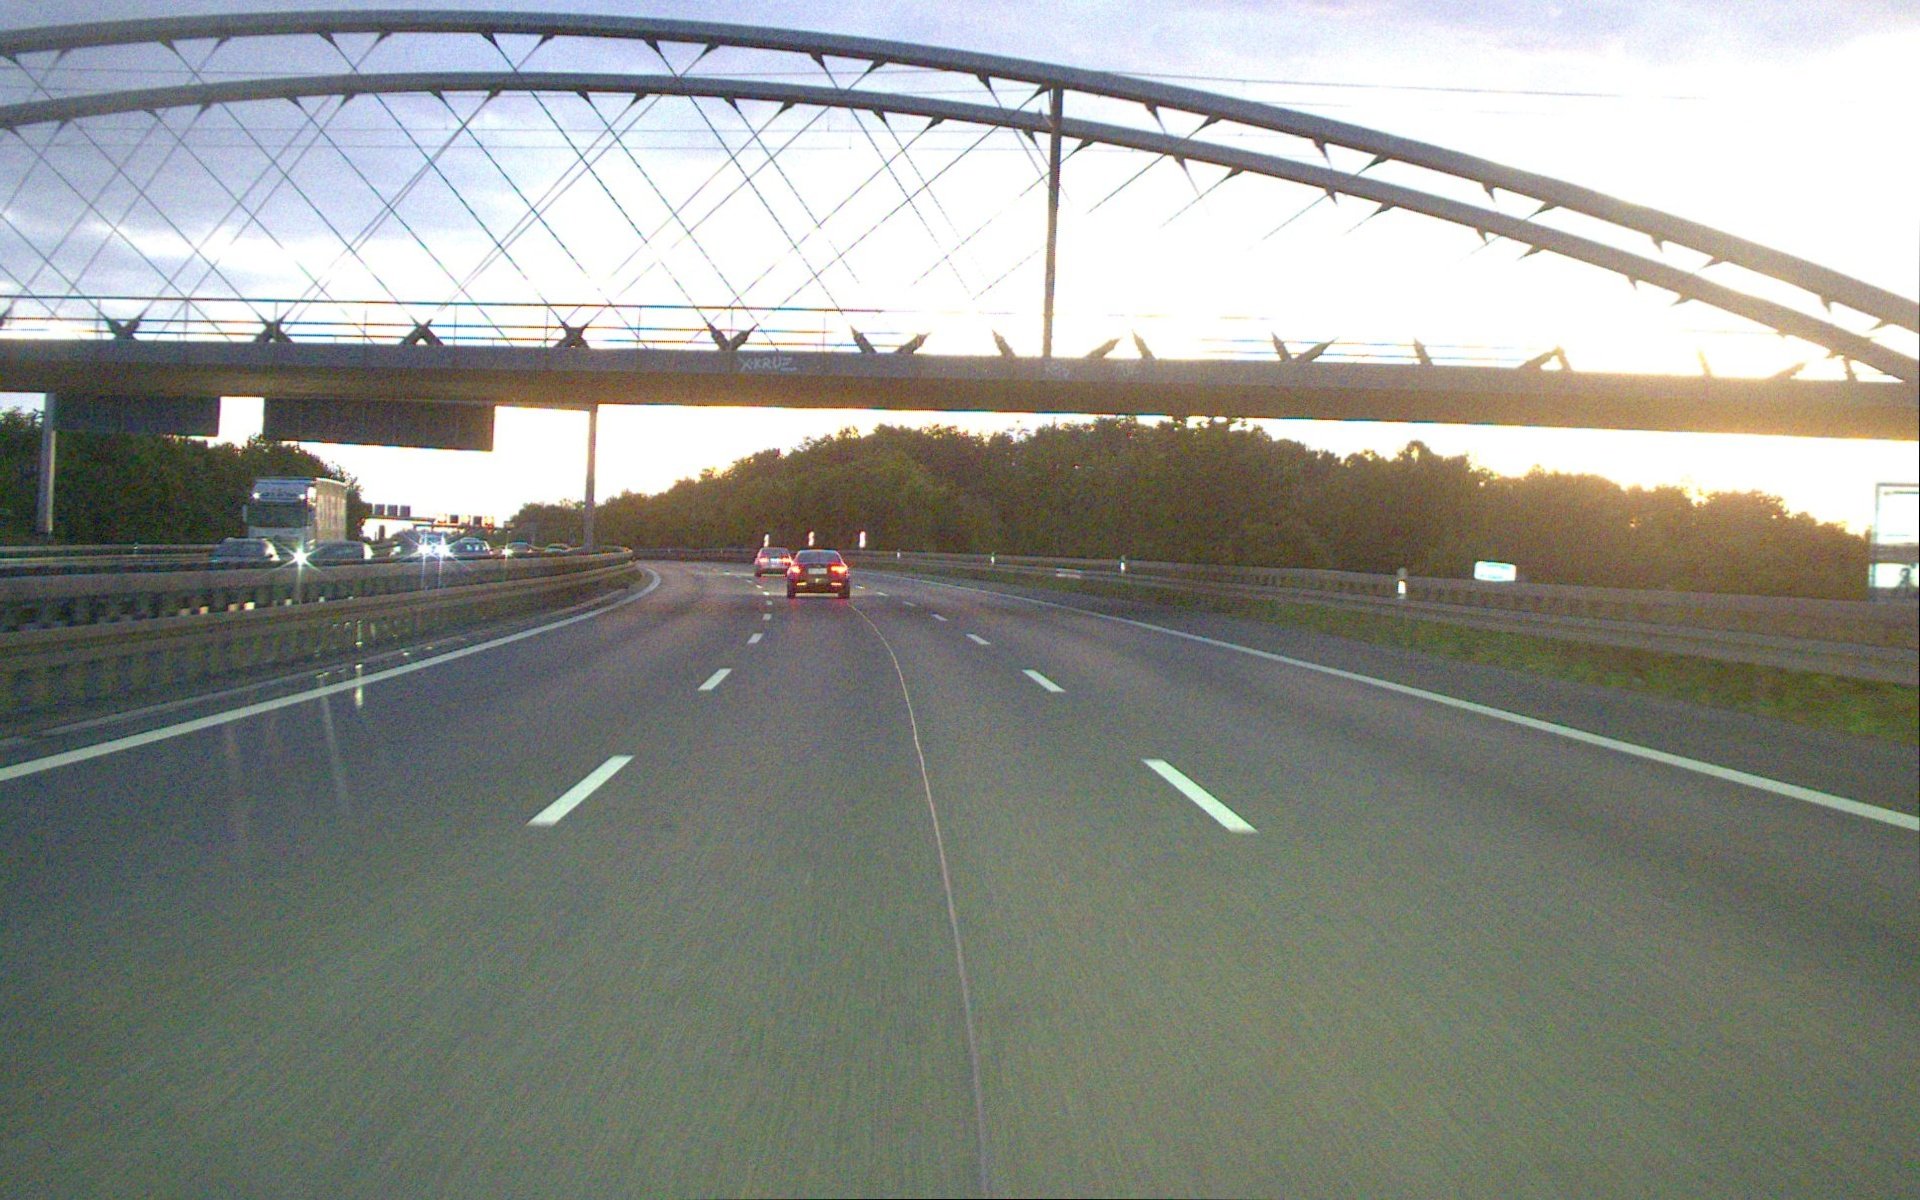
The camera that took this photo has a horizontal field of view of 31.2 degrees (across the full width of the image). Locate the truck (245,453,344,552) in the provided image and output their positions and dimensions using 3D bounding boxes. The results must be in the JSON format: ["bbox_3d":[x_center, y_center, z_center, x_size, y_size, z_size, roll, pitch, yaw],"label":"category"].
[{"bbox_3d":[-28.197,-4.103,146.172,2.824,4.034,12.217,0,1,-5],"label":"truck"}]

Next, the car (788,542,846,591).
[{"bbox_3d":[-4.303,-0.983,102.921,1.689,1.396,3.409,1,0,-3],"label":"car"}]

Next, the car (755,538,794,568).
[{"bbox_3d":[-8.973,-2.270,166.344,1.689,1.397,3.408,0,-1,1],"label":"car"}]
